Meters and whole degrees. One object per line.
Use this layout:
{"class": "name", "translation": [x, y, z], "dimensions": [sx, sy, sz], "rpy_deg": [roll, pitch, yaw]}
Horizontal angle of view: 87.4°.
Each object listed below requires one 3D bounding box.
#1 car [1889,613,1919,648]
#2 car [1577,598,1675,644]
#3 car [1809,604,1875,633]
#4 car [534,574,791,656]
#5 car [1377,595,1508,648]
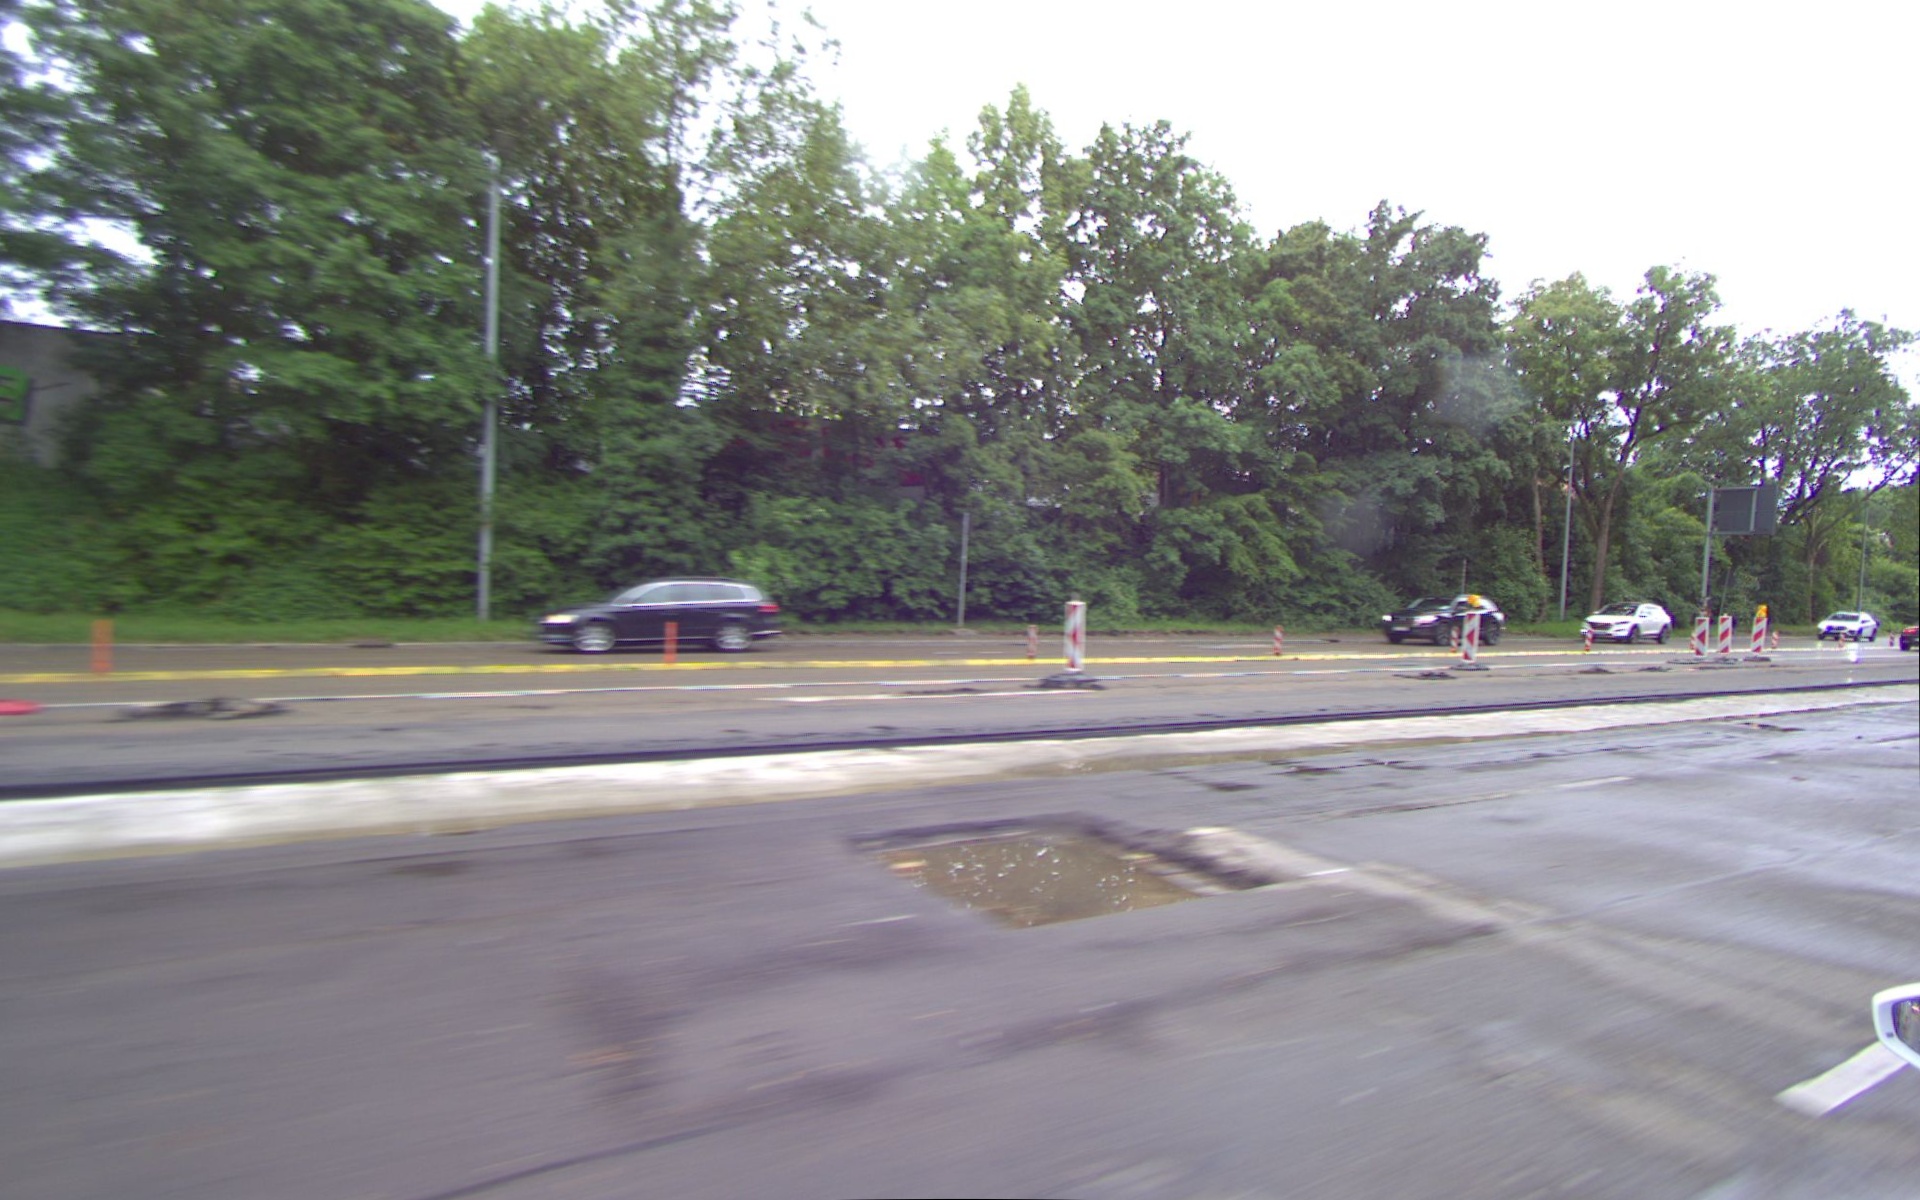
{"class": "car", "translation": [42.712, 1.365, 44.334], "dimensions": [3.998, 1.423, 1.598], "rpy_deg": [1, 2, -34]}
{"class": "car", "translation": [27.391, 0.872, 41.283], "dimensions": [4.334, 1.774, 1.766], "rpy_deg": [1, 1, -34]}
{"class": "car", "translation": [48.828, 1.036, 55.593], "dimensions": [4.112, 1.561, 1.657], "rpy_deg": [1, -1, -33]}
{"class": "car", "translation": [-5.897, 0.293, 20.109], "dimensions": [4.629, 1.472, 1.774], "rpy_deg": [1, 1, -32]}
{"class": "car", "translation": [16.328, 0.720, 33.935], "dimensions": [4.864, 1.685, 1.766], "rpy_deg": [1, 0, -34]}
